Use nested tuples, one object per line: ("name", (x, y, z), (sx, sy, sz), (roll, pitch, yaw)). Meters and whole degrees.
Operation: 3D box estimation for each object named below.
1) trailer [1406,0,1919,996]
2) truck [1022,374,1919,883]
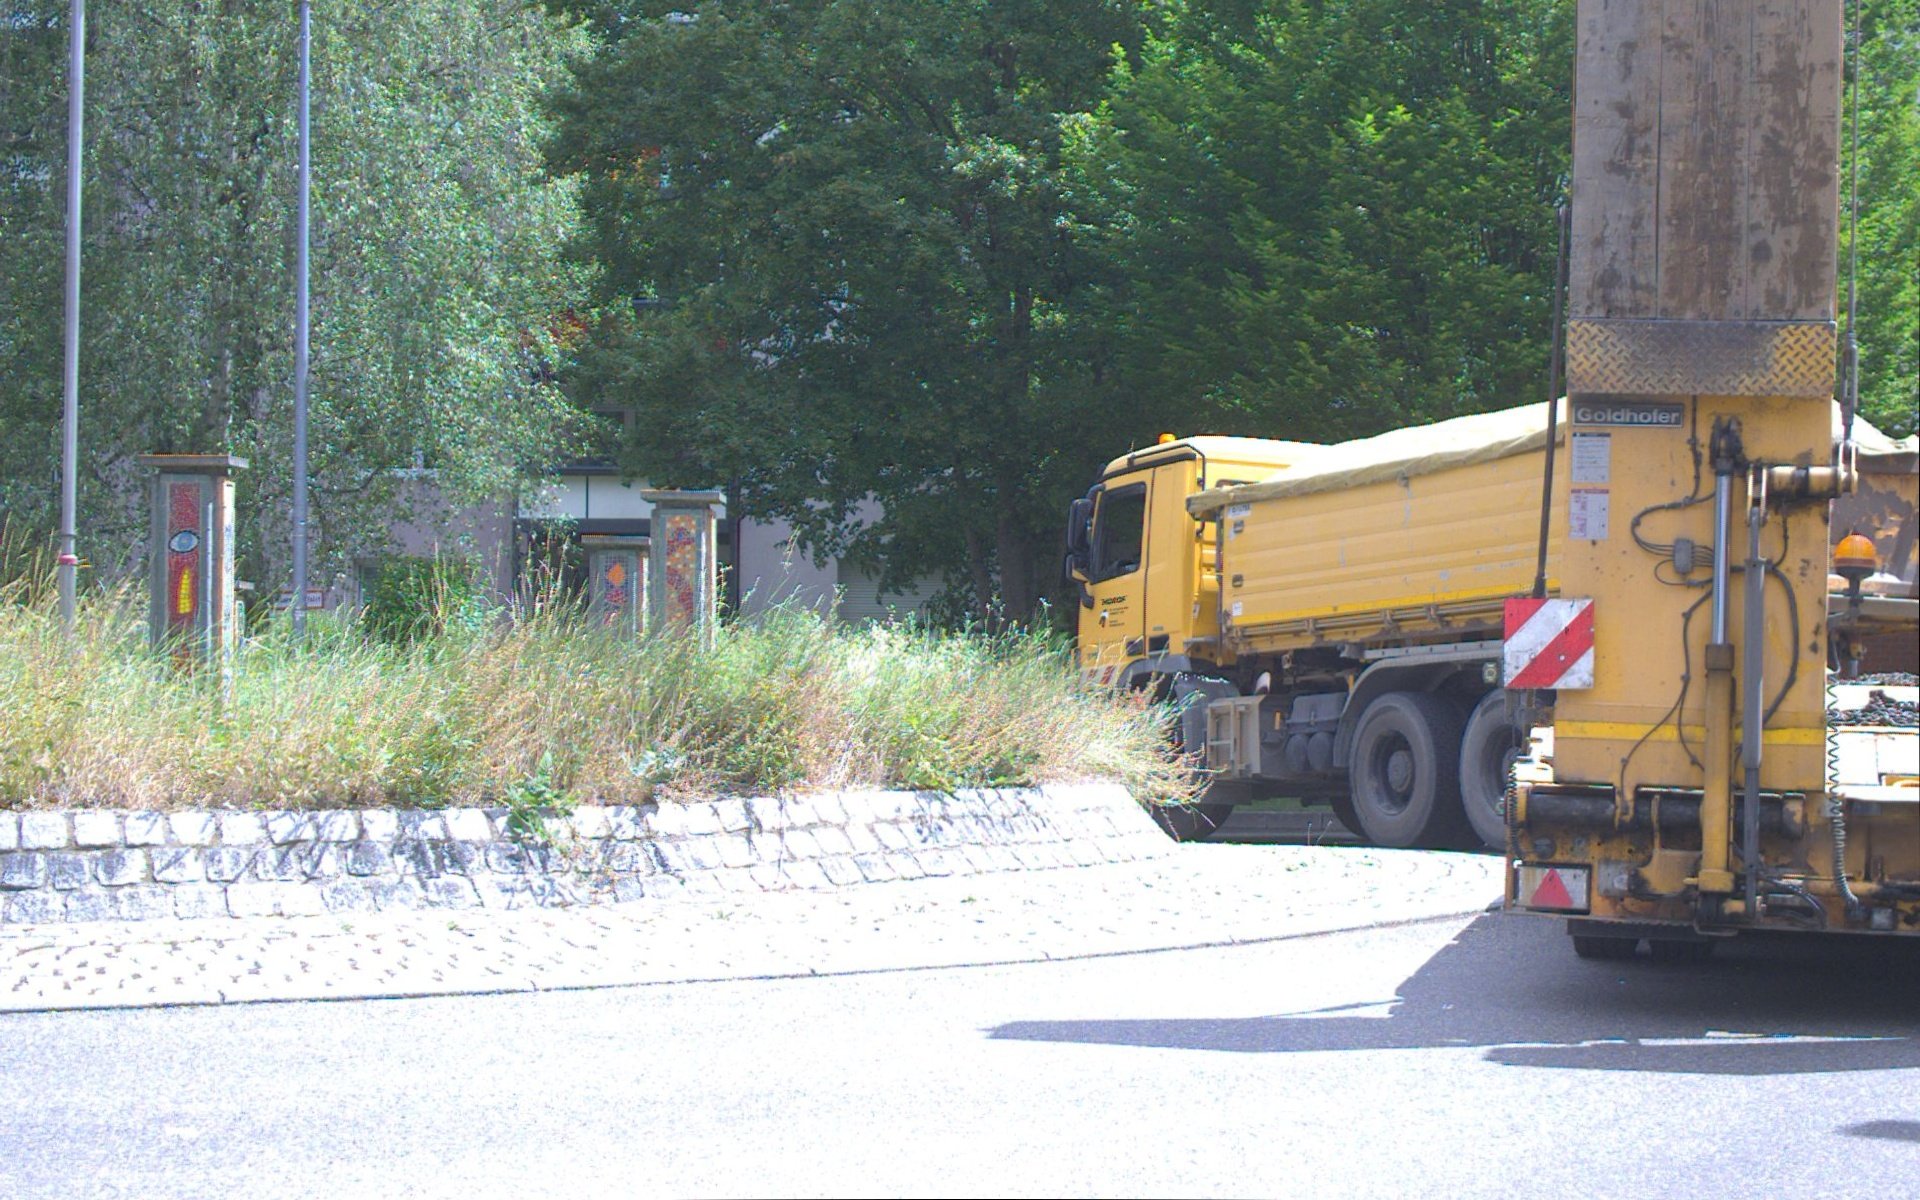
("trailer", (4.093, -0.381, 15.819), (2.865, 3.361, 10.833), (1, -1, 13))
("truck", (3.642, 0.177, 24.923), (2.987, 3.024, 8.487), (0, 0, -25))
